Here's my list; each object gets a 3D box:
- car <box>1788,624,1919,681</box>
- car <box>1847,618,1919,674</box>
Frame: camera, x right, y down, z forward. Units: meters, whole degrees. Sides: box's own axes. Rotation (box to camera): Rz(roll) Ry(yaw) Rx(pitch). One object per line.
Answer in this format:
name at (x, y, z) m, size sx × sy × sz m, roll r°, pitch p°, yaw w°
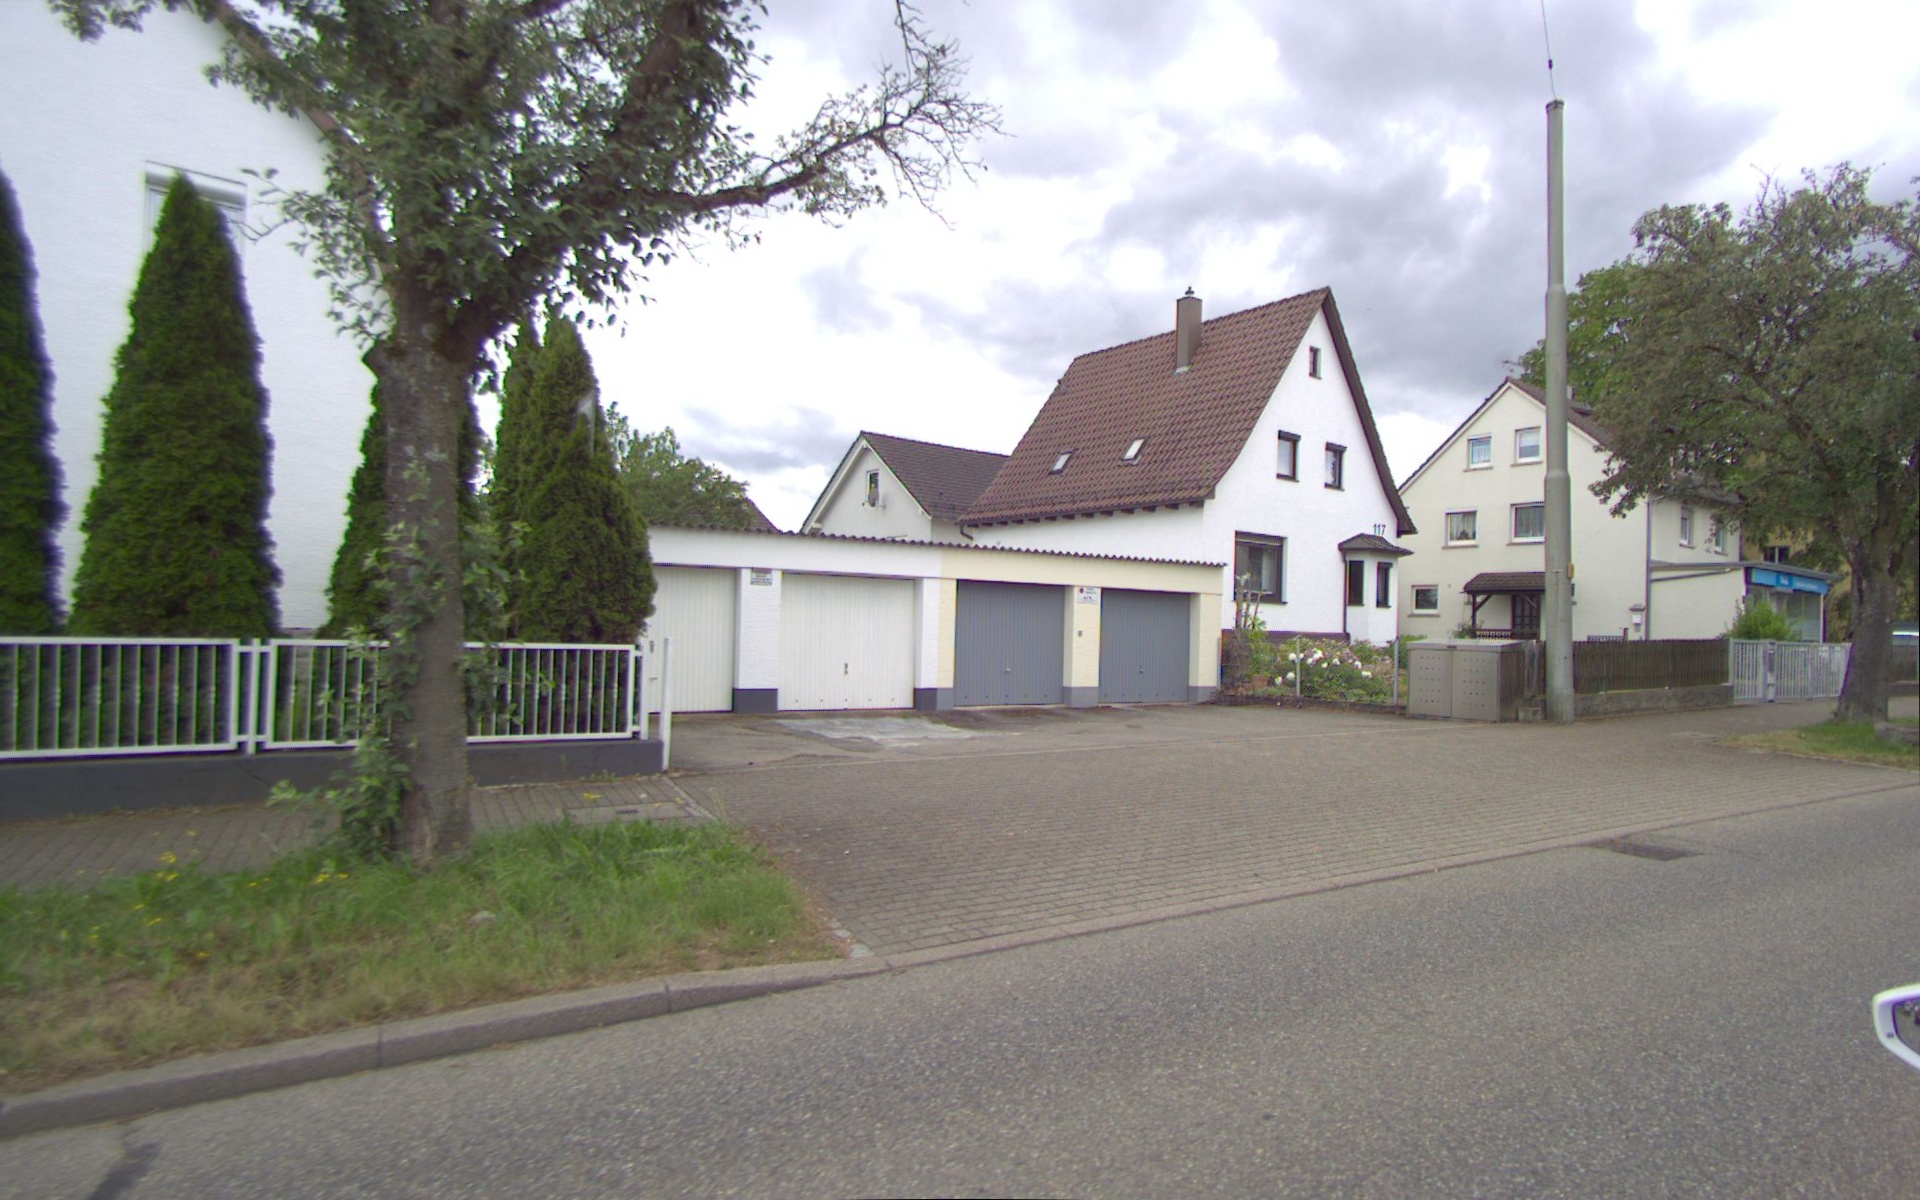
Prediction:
car at (25.784, 1.465, 27.665) m, size 1.799 × 1.386 × 4.247 m, roll 2°, pitch 1°, yaw -36°
car at (30.335, 1.471, 30.794) m, size 1.950 × 1.639 × 4.313 m, roll 2°, pitch 0°, yaw -29°
